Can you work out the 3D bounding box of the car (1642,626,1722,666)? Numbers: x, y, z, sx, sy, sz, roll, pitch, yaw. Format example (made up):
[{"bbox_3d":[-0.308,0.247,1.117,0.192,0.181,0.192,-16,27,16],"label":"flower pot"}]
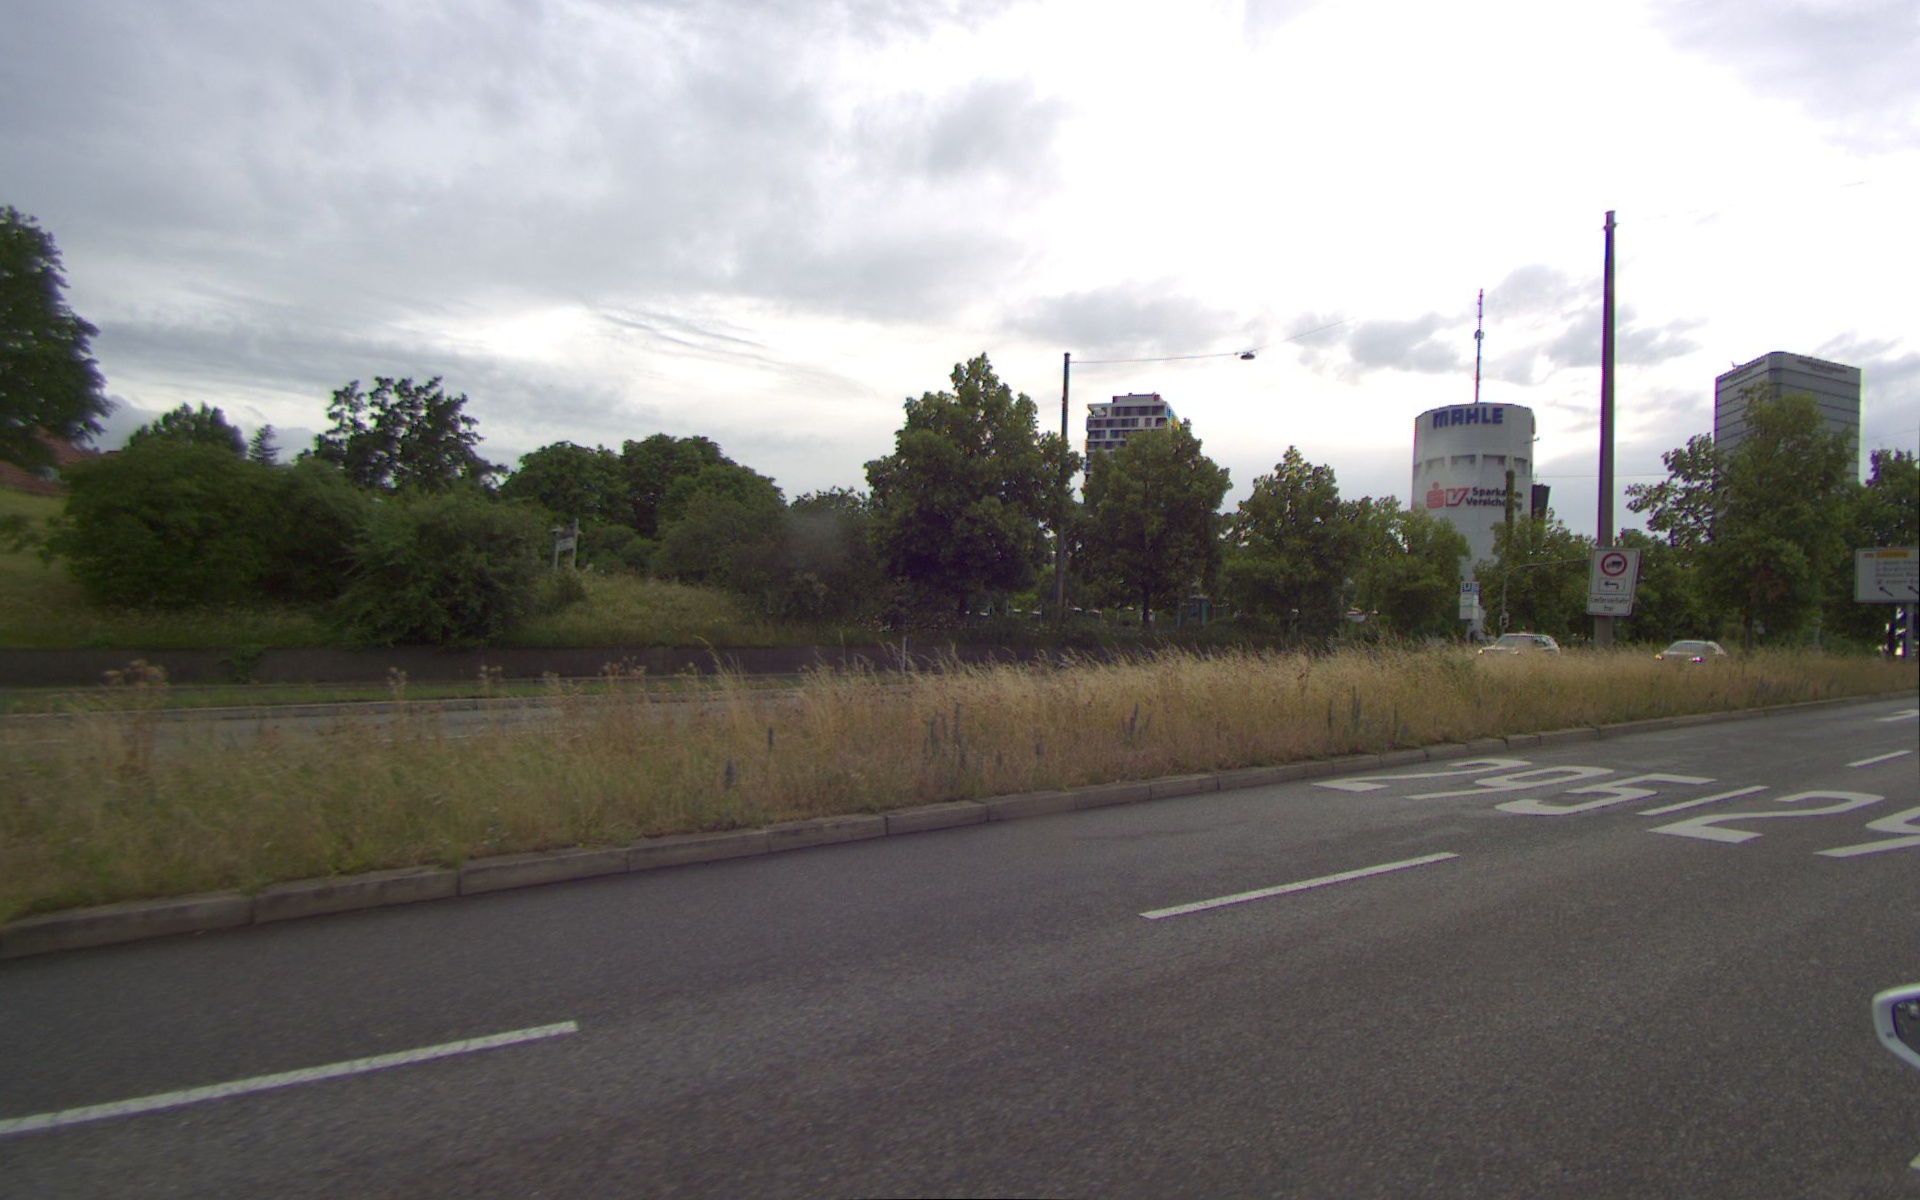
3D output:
[{"bbox_3d":[32.058,2.008,44.569,3.986,1.661,1.977,2,-1,-40],"label":"car"}]

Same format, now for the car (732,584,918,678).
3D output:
[{"bbox_3d":[-3.174,0.781,23.913,3.965,2.040,1.978,2,-4,-39],"label":"car"}]
